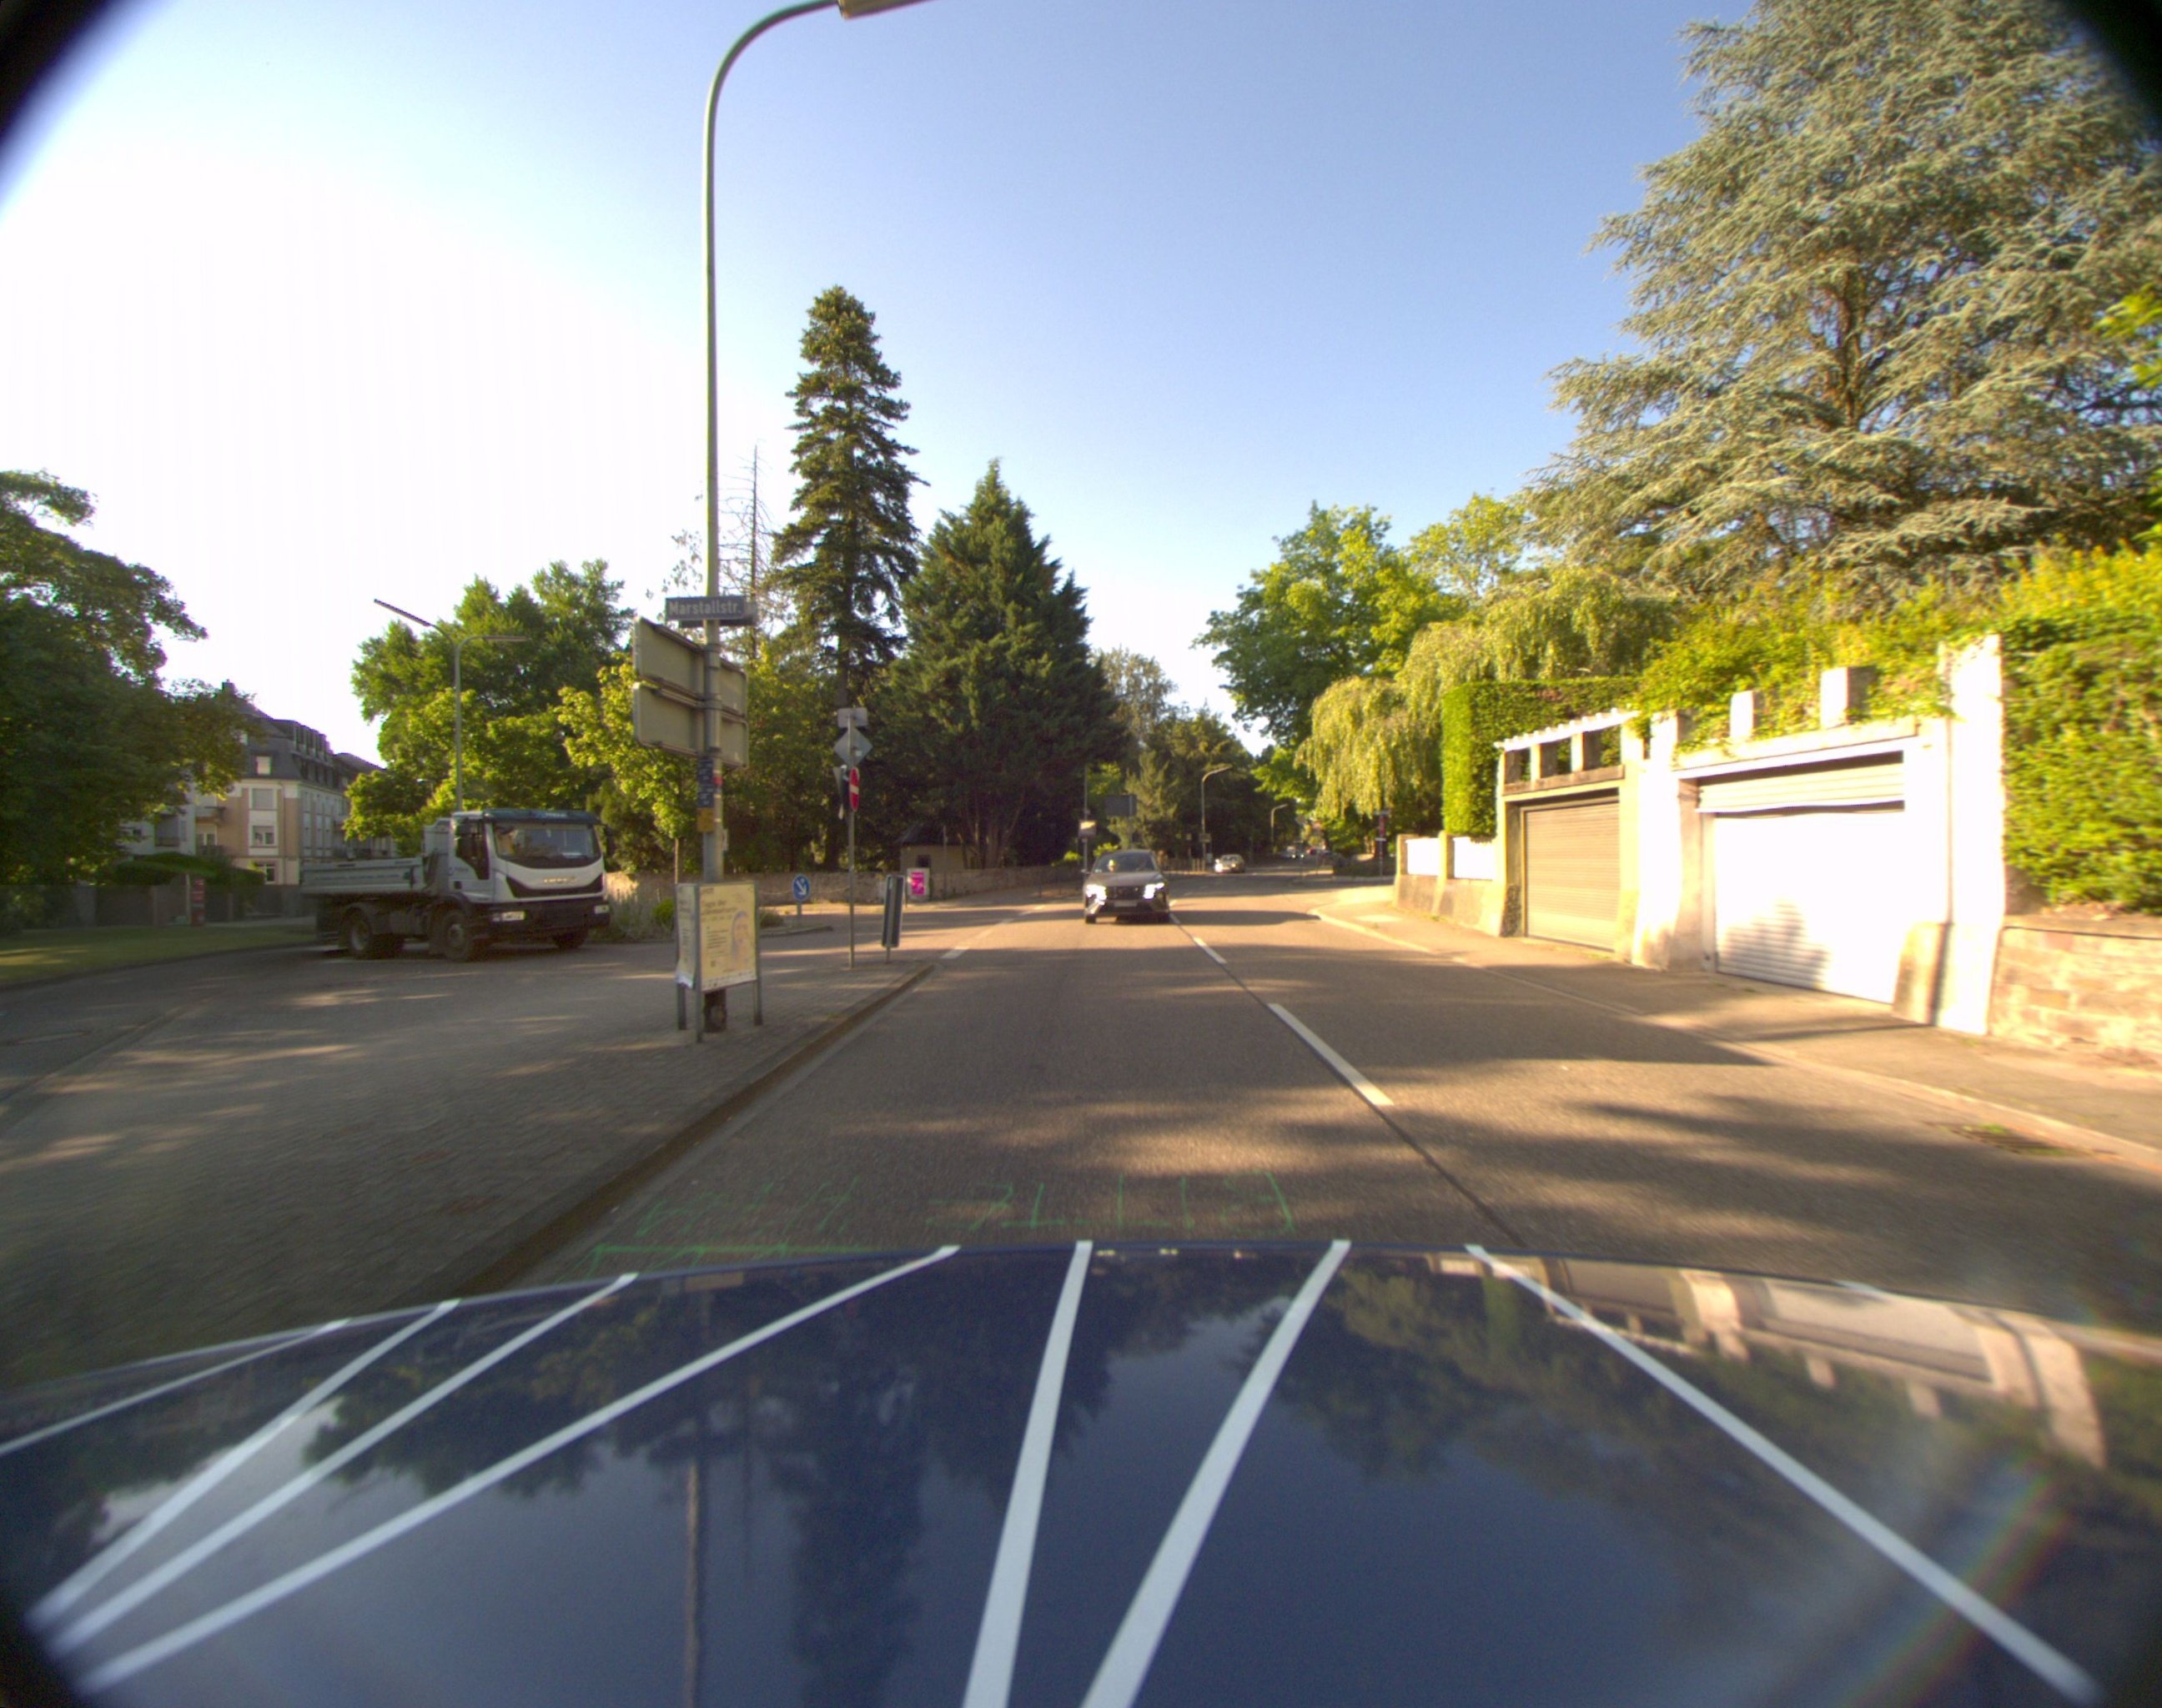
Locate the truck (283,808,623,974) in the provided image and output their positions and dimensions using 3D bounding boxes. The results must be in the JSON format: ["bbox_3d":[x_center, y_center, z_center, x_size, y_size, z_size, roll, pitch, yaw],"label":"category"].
[{"bbox_3d":[-12.874,0.765,15.535,6.594,2.878,2.437,-2,0,22],"label":"truck"}]

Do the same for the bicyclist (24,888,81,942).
[{"bbox_3d":[-28.813,1.699,21.297,0.762,1.476,0.642,3,-3,-40],"label":"bicyclist"}]

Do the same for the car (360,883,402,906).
[{"bbox_3d":[-50.712,2.923,55.030,3.904,1.514,1.842,-2,0,43],"label":"car"}]

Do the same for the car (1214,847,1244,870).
[{"bbox_3d":[11.536,0.357,59.022,1.996,1.630,4.004,-3,0,14],"label":"car"}]

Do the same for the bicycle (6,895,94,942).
[{"bbox_3d":[-28.826,1.780,21.296,0.765,1.199,2.834,4,-4,-40],"label":"bicycle"}]

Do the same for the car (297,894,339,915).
[{"bbox_3d":[-56.923,3.750,56.737,1.758,1.402,3.589,-2,0,-38],"label":"car"}]

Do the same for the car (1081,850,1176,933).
[{"bbox_3d":[1.061,0.775,17.812,1.936,1.676,4.433,-1,0,2],"label":"car"}]

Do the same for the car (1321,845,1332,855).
[{"bbox_3d":[40.502,-0.659,125.425,1.687,1.425,3.621,-4,-1,18],"label":"car"}]

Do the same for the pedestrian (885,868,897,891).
[{"bbox_3d":[-14.829,1.988,59.229,0.590,1.719,0.599,-3,0,19],"label":"pedestrian"}]

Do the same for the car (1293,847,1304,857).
[{"bbox_3d":[44.110,-0.341,154.182,1.996,2.002,4.005,-2,0,16],"label":"car"}]

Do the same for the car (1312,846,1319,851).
[{"bbox_3d":[73.330,-1.724,237.783,1.821,1.375,3.939,2,2,14],"label":"car"}]

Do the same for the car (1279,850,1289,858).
[{"bbox_3d":[38.884,0.046,145.499,1.821,1.375,3.939,2,2,14],"label":"car"}]
